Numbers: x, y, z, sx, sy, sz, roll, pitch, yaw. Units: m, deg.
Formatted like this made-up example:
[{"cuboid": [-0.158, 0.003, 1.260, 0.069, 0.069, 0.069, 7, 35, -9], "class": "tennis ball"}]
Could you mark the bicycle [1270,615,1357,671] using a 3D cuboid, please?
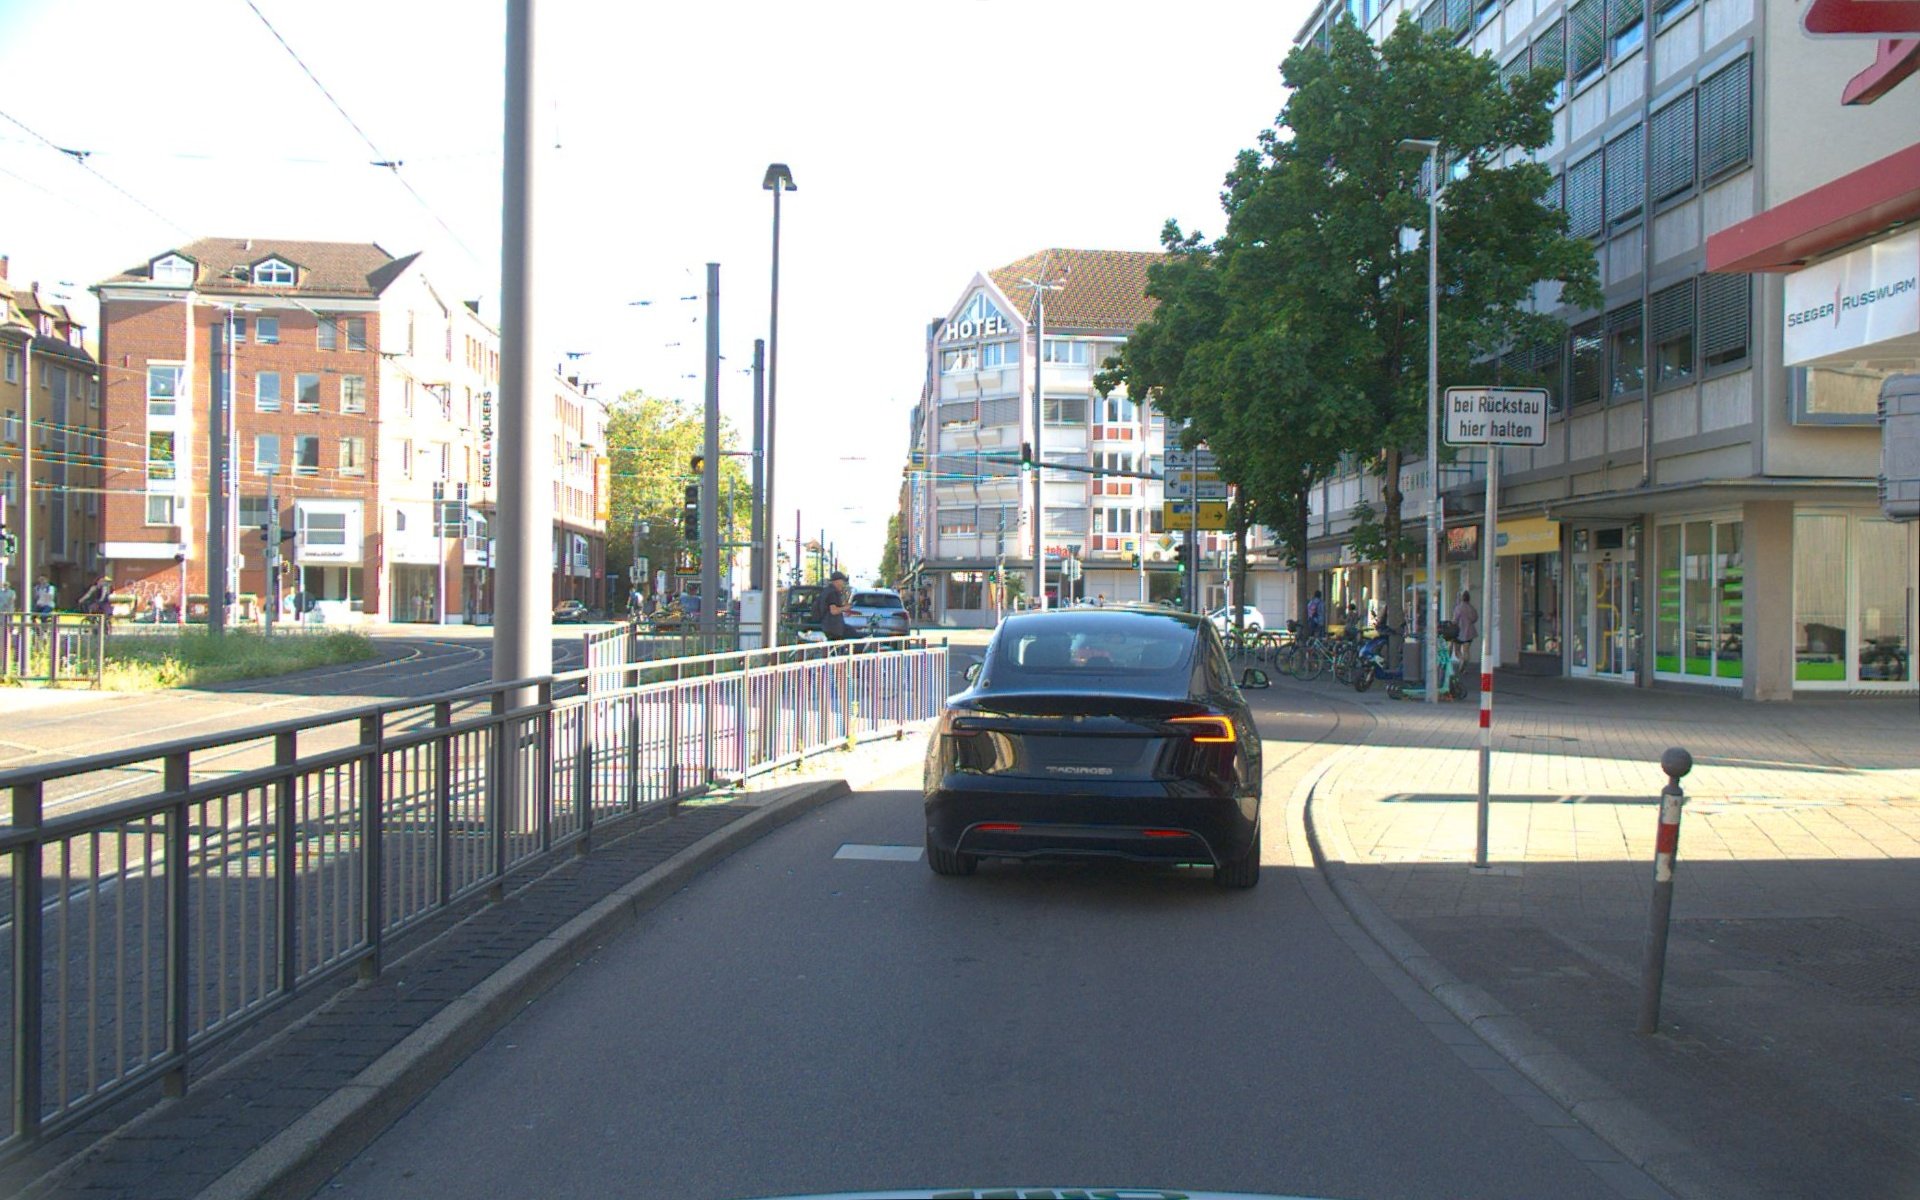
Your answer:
[{"cuboid": [7.556, 0.910, 35.335, 1.774, 1.172, 0.435, 0, -1, -5], "class": "bicycle"}]

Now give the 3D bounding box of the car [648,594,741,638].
[{"cuboid": [-9.906, 0.595, 61.599, 3.415, 1.578, 1.719, 0, -1, 44], "class": "car"}]

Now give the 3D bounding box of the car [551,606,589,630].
[{"cuboid": [-24.413, 1.123, 103.593, 1.782, 1.479, 3.972, -1, 0, -6], "class": "car"}]

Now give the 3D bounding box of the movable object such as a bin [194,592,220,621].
[{"cuboid": [-39.280, 0.331, 86.284, 0.978, 1.462, 1.093, 1, -1, -10], "class": "movable object such as a bin"}]

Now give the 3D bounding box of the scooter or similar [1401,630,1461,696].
[{"cuboid": [7.715, 1.031, 27.102, 0.936, 1.057, 0.160, 0, 0, 2], "class": "scooter or similar"}]

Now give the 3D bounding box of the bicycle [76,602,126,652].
[{"cuboid": [-23.149, 0.725, 44.599, 0.563, 1.313, 2.022, 1, -1, -9], "class": "bicycle"}]

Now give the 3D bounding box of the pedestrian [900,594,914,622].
[{"cuboid": [-3.433, 0.541, 107.010, 0.896, 1.785, 0.839, 1, -1, -2], "class": "pedestrian"}]

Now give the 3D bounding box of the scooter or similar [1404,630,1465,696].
[{"cuboid": [7.710, 1.017, 26.904, 0.943, 1.061, 0.160, 0, 0, 2], "class": "scooter or similar"}]

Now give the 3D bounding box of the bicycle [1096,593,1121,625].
[{"cuboid": [6.912, 0.423, 77.109, 0.573, 1.489, 1.679, 0, 0, -16], "class": "bicycle"}]

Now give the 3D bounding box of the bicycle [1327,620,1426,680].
[{"cuboid": [7.880, 0.938, 31.277, 1.817, 1.074, 0.398, -1, 0, -12], "class": "bicycle"}]

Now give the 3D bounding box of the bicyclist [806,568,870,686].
[{"cuboid": [-1.631, 0.358, 22.085, 0.672, 1.550, 0.630, 1, -1, -24], "class": "bicyclist"}]

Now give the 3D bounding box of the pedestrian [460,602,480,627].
[{"cuboid": [-31.324, 0.937, 105.743, 0.866, 1.595, 0.863, 1, -1, 21], "class": "pedestrian"}]

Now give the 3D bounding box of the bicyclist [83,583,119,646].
[{"cuboid": [-23.138, 0.384, 44.558, 0.577, 1.678, 0.805, 1, -1, -9], "class": "bicyclist"}]

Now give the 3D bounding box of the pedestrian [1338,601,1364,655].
[{"cuboid": [10.629, 0.747, 44.996, 0.631, 1.447, 0.621, 1, -1, 11], "class": "pedestrian"}]

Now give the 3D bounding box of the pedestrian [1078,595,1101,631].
[{"cuboid": [6.019, 0.598, 76.803, 0.766, 1.604, 0.864, 1, 1, -16], "class": "pedestrian"}]

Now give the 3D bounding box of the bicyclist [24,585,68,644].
[{"cuboid": [-23.103, 0.362, 41.803, 0.650, 1.479, 0.731, 1, -1, 1], "class": "bicyclist"}]

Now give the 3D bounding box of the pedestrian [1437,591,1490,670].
[{"cuboid": [10.645, 0.636, 34.963, 0.826, 1.630, 0.880, 1, -1, -1], "class": "pedestrian"}]

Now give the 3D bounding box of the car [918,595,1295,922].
[{"cuboid": [0.896, 0.738, 9.799, 1.752, 1.476, 3.943, 1, 1, 6], "class": "car"}]

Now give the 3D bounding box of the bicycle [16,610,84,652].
[{"cuboid": [-23.099, 0.768, 42.007, 0.636, 1.031, 1.885, 1, -1, 1], "class": "bicycle"}]

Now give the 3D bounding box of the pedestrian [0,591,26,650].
[{"cuboid": [-28.321, 0.596, 49.339, 0.613, 1.717, 0.703, 1, 1, -13], "class": "pedestrian"}]

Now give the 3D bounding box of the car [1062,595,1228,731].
[{"cuboid": [2.180, 0.686, 20.524, 1.728, 1.469, 4.530, 1, 0, 3], "class": "car"}]

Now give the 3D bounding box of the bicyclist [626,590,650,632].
[{"cuboid": [-13.806, 0.473, 70.930, 0.609, 1.803, 0.817, 2, -1, -44], "class": "bicyclist"}]

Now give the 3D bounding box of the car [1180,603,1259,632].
[{"cuboid": [13.535, 0.910, 86.442, 3.766, 1.457, 1.801, 1, -2, -6], "class": "car"}]

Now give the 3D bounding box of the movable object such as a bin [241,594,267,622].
[{"cuboid": [-36.974, 0.427, 86.618, 0.978, 1.462, 1.093, 1, -1, -10], "class": "movable object such as a bin"}]

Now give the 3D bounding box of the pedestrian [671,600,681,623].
[{"cuboid": [-18.670, 0.758, 108.752, 0.574, 1.557, 0.634, 1, -1, -18], "class": "pedestrian"}]

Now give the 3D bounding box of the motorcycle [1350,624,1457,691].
[{"cuboid": [7.829, 1.008, 29.202, 1.751, 1.149, 0.504, 1, -1, -3], "class": "motorcycle"}]

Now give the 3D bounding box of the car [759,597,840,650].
[{"cuboid": [-5.281, 0.744, 54.142, 1.552, 1.646, 3.755, 1, -1, -24], "class": "car"}]

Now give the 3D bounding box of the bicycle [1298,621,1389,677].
[{"cuboid": [7.727, 0.985, 33.338, 1.730, 1.075, 0.458, 1, -1, 4], "class": "bicycle"}]

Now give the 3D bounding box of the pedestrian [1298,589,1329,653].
[{"cuboid": [9.756, 0.578, 45.675, 0.825, 1.751, 0.880, 1, -1, 12], "class": "pedestrian"}]

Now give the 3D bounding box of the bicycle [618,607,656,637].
[{"cuboid": [-13.855, 0.937, 70.961, 0.624, 1.245, 2.008, 2, -1, -44], "class": "bicycle"}]

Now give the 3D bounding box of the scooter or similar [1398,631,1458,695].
[{"cuboid": [7.720, 1.042, 27.303, 0.943, 1.045, 0.160, 0, 0, 2], "class": "scooter or similar"}]

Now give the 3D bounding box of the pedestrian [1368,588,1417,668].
[{"cuboid": [9.585, 0.619, 36.711, 0.826, 1.737, 0.880, 1, -1, -1], "class": "pedestrian"}]

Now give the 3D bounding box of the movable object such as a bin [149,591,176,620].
[{"cuboid": [-41.520, 0.284, 86.081, 0.978, 1.462, 1.093, 1, -1, -10], "class": "movable object such as a bin"}]

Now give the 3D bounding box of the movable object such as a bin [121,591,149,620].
[{"cuboid": [-42.786, 0.272, 85.777, 0.978, 1.462, 1.093, 1, -1, -10], "class": "movable object such as a bin"}]

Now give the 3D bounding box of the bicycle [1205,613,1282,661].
[{"cuboid": [7.262, 0.950, 42.382, 1.851, 1.177, 0.480, -1, -1, 0], "class": "bicycle"}]

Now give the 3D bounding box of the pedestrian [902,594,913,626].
[{"cuboid": [-3.017, 0.566, 94.596, 0.614, 1.813, 0.917, 1, -1, -3], "class": "pedestrian"}]

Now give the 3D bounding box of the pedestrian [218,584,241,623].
[{"cuboid": [-32.640, 0.150, 73.897, 0.682, 1.740, 0.928, 1, -1, -7], "class": "pedestrian"}]

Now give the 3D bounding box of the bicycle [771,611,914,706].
[{"cuboid": [-1.570, 0.775, 22.107, 1.796, 1.233, 0.637, 1, -1, -25], "class": "bicycle"}]

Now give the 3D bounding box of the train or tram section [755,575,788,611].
[{"cuboid": [-19.819, -0.695, 174.396, 2.674, 3.604, 10.080, 1, 0, -3], "class": "train or tram section"}]

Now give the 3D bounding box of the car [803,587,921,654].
[{"cuboid": [-2.584, 0.516, 43.050, 1.818, 1.663, 3.455, 1, -1, -27], "class": "car"}]
